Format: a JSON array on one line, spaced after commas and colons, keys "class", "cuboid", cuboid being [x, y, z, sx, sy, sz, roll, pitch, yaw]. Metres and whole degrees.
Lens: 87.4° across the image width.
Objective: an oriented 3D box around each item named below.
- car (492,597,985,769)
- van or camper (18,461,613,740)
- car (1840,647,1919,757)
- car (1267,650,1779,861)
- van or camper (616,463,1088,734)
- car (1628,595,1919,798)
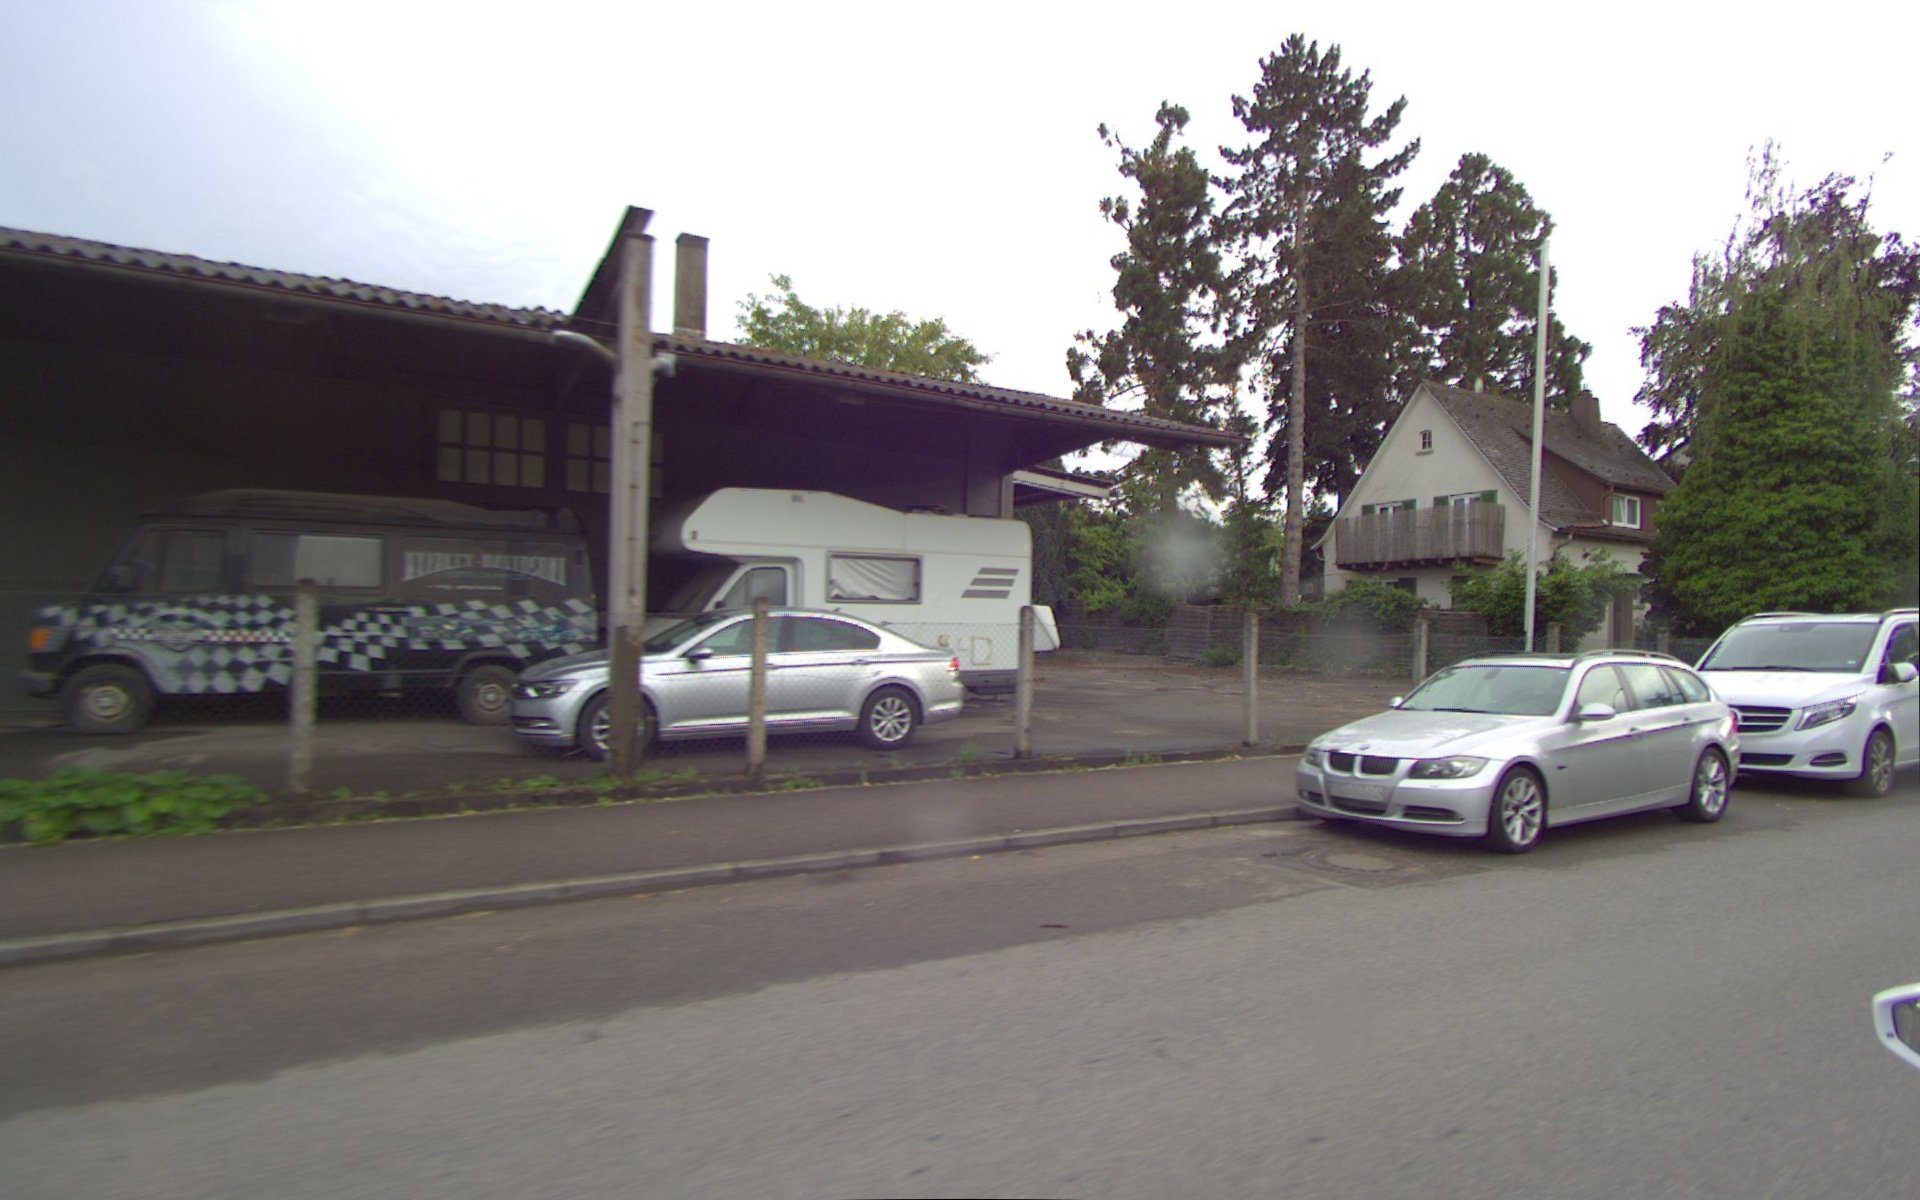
[{"class": "car", "cuboid": [-2.234, 0.776, 10.572, 4.732, 1.460, 1.820, 2, 0, -30]}, {"class": "van or camper", "cuboid": [-6.779, 0.065, 11.262, 5.139, 2.524, 1.983, 2, 0, -31]}, {"class": "car", "cuboid": [14.787, 1.406, 14.315, 4.920, 1.446, 1.809, 2, -3, -29]}, {"class": "car", "cuboid": [4.901, 1.137, 8.564, 4.650, 1.383, 1.631, 2, -3, -29]}, {"class": "van or camper", "cuboid": [-1.371, 0.057, 13.956, 6.079, 3.076, 2.292, 2, 0, -30]}, {"class": "car", "cuboid": [10.149, 1.016, 11.609, 5.146, 1.917, 1.885, 2, -3, -29]}]
